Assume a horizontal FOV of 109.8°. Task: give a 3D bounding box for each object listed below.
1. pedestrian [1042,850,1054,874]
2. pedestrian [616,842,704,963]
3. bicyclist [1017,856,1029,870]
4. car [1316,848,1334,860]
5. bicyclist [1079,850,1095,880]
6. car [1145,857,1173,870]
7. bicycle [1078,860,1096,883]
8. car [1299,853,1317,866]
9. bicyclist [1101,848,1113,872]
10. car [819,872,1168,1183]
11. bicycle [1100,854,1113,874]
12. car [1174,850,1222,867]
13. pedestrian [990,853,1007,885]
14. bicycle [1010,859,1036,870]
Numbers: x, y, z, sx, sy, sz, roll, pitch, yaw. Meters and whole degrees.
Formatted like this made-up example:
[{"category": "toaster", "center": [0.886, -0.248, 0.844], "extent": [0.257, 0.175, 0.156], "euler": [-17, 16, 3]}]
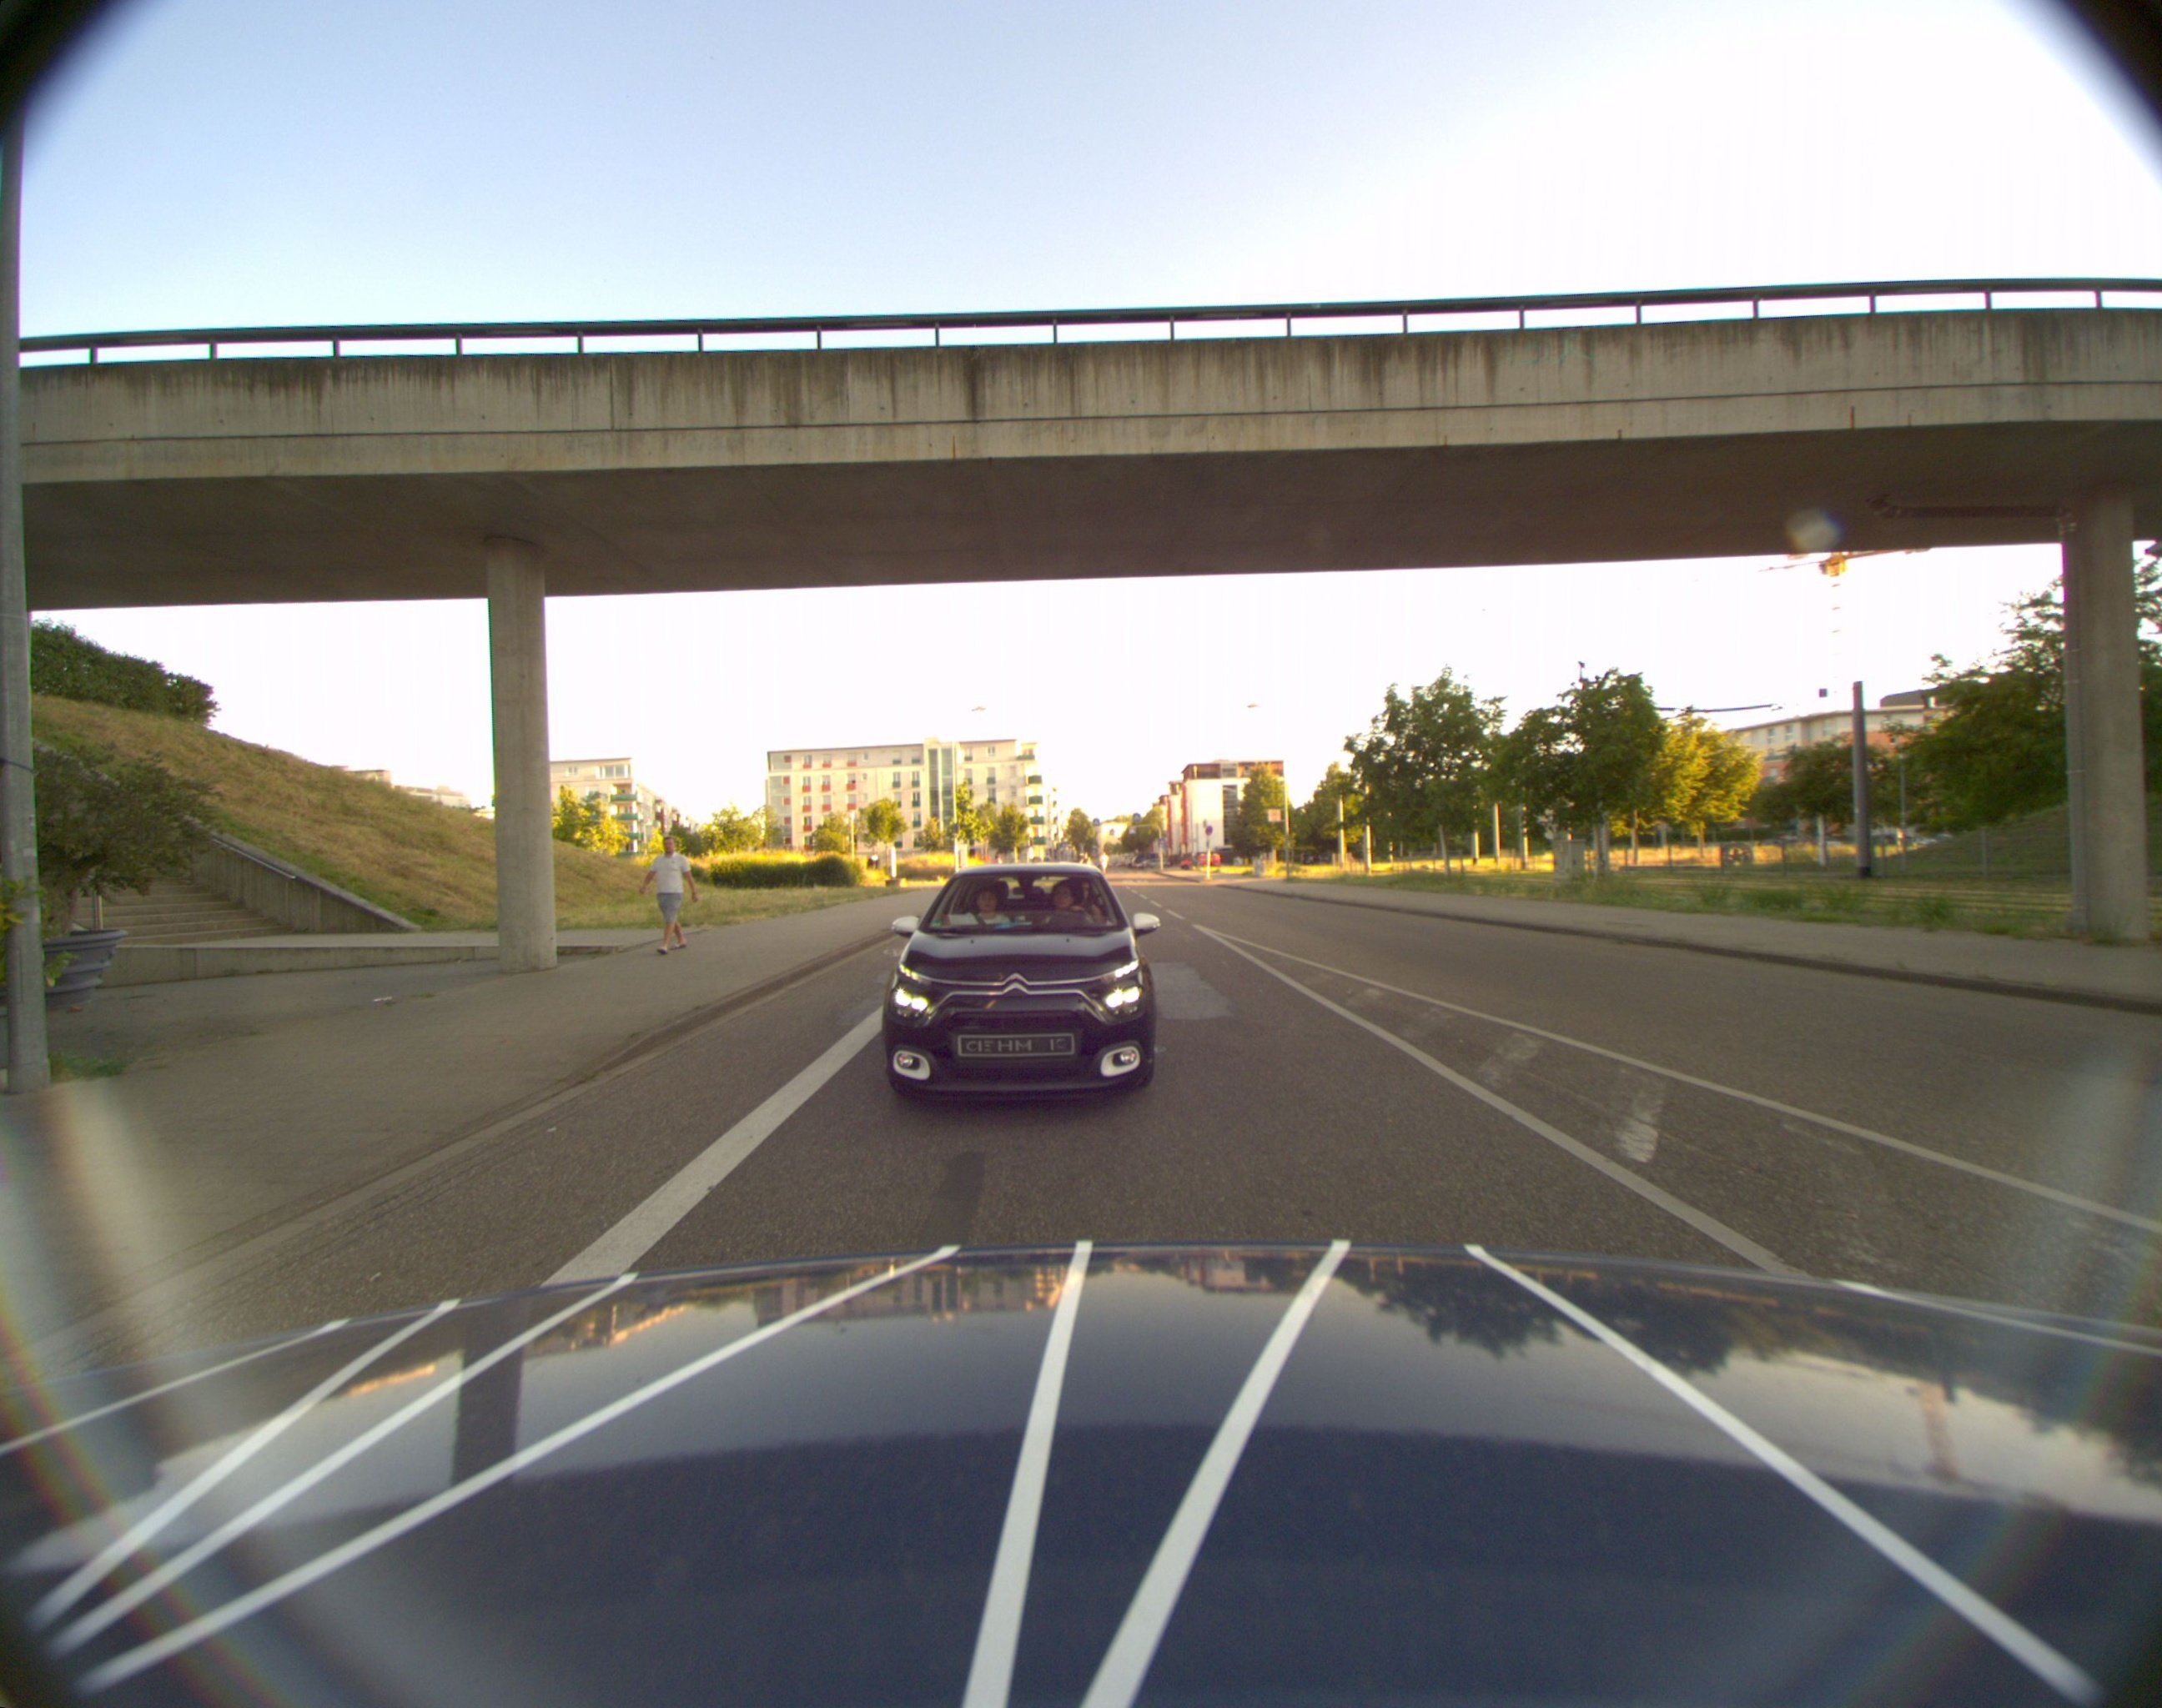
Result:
[{"category": "pedestrian", "center": [-2.295, 0.561, 52.993], "extent": [0.737, 1.714, 0.532], "euler": [0, 0, 1]}, {"category": "pedestrian", "center": [-6.253, 0.697, 11.333], "extent": [0.737, 1.714, 0.906], "euler": [-2, 0, 1]}, {"category": "bicyclist", "center": [-6.728, 0.993, 88.023], "extent": [0.934, 1.585, 1.065], "euler": [-2, 0, -40]}, {"category": "car", "center": [31.079, -0.011, 96.852], "extent": [1.942, 1.521, 4.004], "euler": [-2, 0, 14]}, {"category": "bicyclist", "center": [0.343, 0.607, 41.679], "extent": [0.696, 1.630, 0.852], "euler": [-2, 0, 7]}, {"category": "car", "center": [11.716, 1.422, 113.782], "extent": [3.996, 1.718, 2.000], "euler": [-2, 0, 2]}, {"category": "bicycle", "center": [0.337, 0.946, 41.871], "extent": [0.662, 1.217, 2.441], "euler": [-2, 0, 7]}, {"category": "car", "center": [29.027, 0.718, 97.258], "extent": [1.942, 1.521, 4.004], "euler": [-2, 0, 14]}, {"category": "bicyclist", "center": [2.025, 0.476, 60.185], "extent": [0.883, 1.865, 1.034], "euler": [-2, 0, 1]}, {"category": "car", "center": [-0.415, 0.938, 5.890], "extent": [1.739, 1.455, 4.000], "euler": [-2, 0, 1]}, {"category": "bicycle", "center": [2.028, 0.779, 60.232], "extent": [0.887, 1.483, 3.322], "euler": [-2, 0, 2]}, {"category": "car", "center": [14.721, 0.598, 95.515], "extent": [5.513, 2.002, 2.003], "euler": [-2, 0, 25]}, {"category": "pedestrian", "center": [-4.241, 0.768, 38.989], "extent": [0.737, 1.620, 0.859], "euler": [0, 0, 2]}, {"category": "bicycle", "center": [-6.731, 1.235, 88.121], "extent": [3.489, 1.142, 0.902], "euler": [-2, 0, 42]}]
